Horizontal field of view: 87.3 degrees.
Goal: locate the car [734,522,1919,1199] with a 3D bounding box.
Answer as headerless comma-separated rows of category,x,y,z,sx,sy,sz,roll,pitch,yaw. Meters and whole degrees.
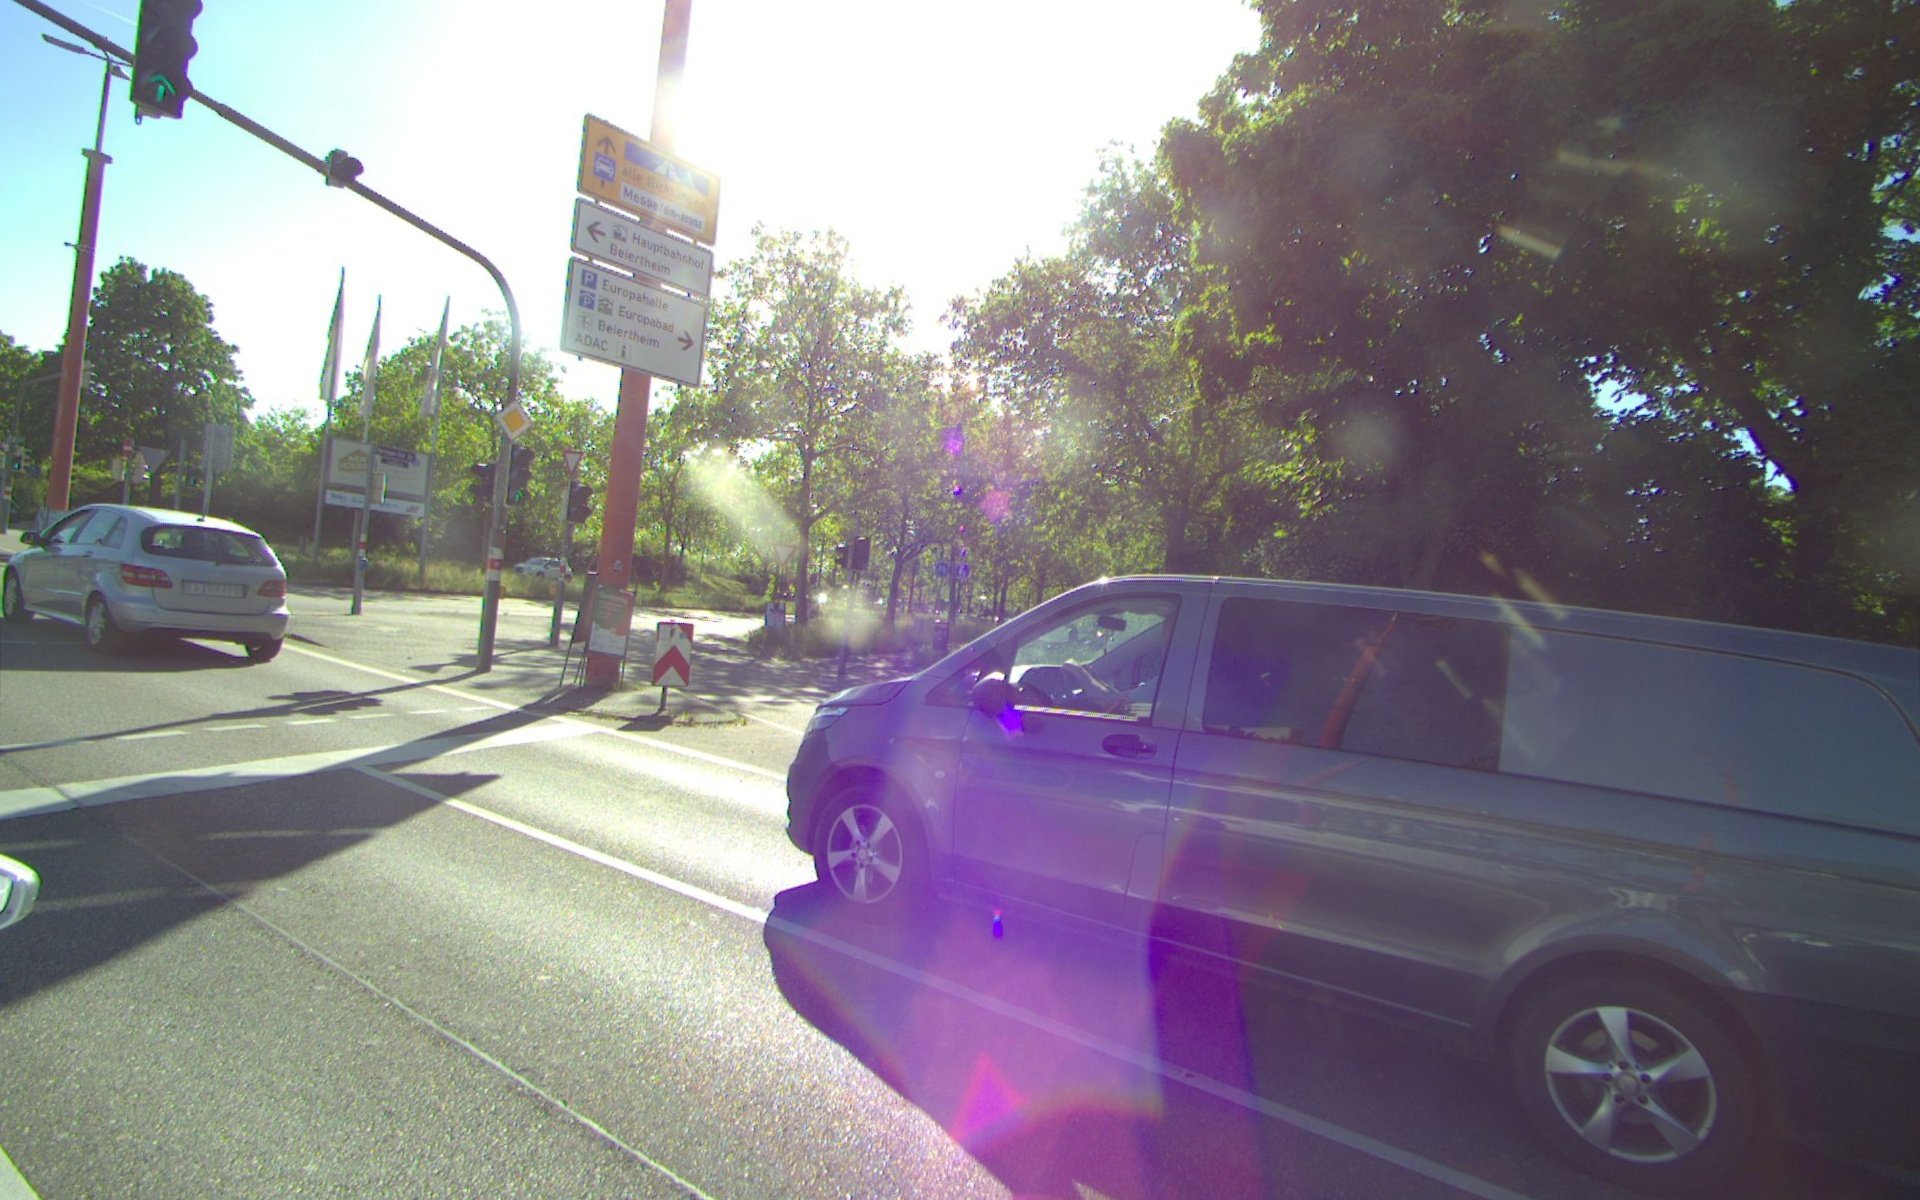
car,1.457,0.827,4.733,5.021,1.875,1.806,7,0,34

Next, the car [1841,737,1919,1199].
car,3.446,1.191,0.227,4.606,1.510,1.807,7,-2,33

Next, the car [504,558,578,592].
car,-26.750,-1.564,64.381,1.737,1.655,4.298,7,-1,22

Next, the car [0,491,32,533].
car,-43.880,-4.161,44.104,4.233,1.654,1.765,8,-2,-16

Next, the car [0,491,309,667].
car,-9.814,-0.279,12.138,3.784,1.626,1.719,6,-2,32
